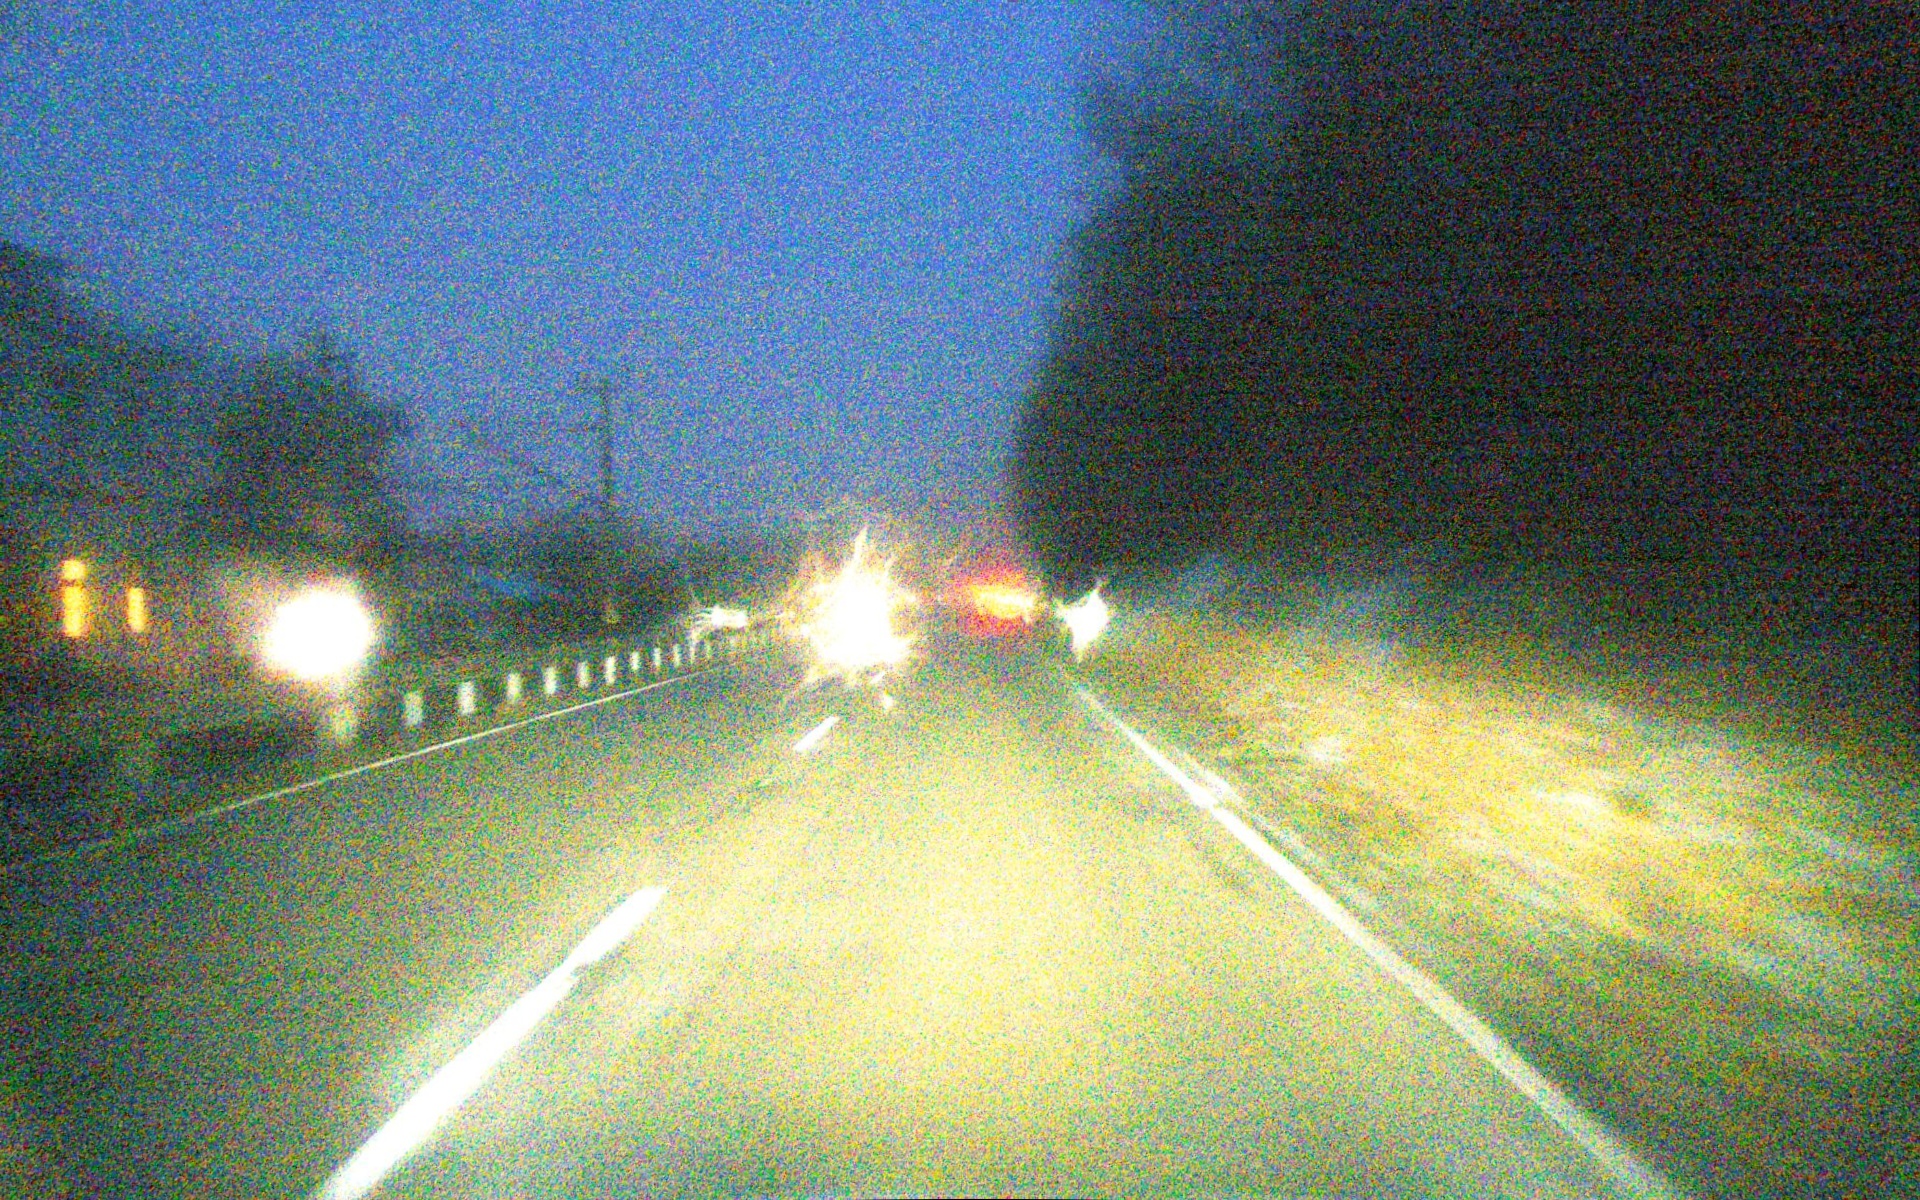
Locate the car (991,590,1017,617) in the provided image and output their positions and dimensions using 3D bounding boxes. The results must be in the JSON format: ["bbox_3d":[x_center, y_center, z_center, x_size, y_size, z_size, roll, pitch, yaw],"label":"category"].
[{"bbox_3d":[3.657,0.309,136.764,2.151,2.049,4.207,0,-3,2],"label":"car"}]
